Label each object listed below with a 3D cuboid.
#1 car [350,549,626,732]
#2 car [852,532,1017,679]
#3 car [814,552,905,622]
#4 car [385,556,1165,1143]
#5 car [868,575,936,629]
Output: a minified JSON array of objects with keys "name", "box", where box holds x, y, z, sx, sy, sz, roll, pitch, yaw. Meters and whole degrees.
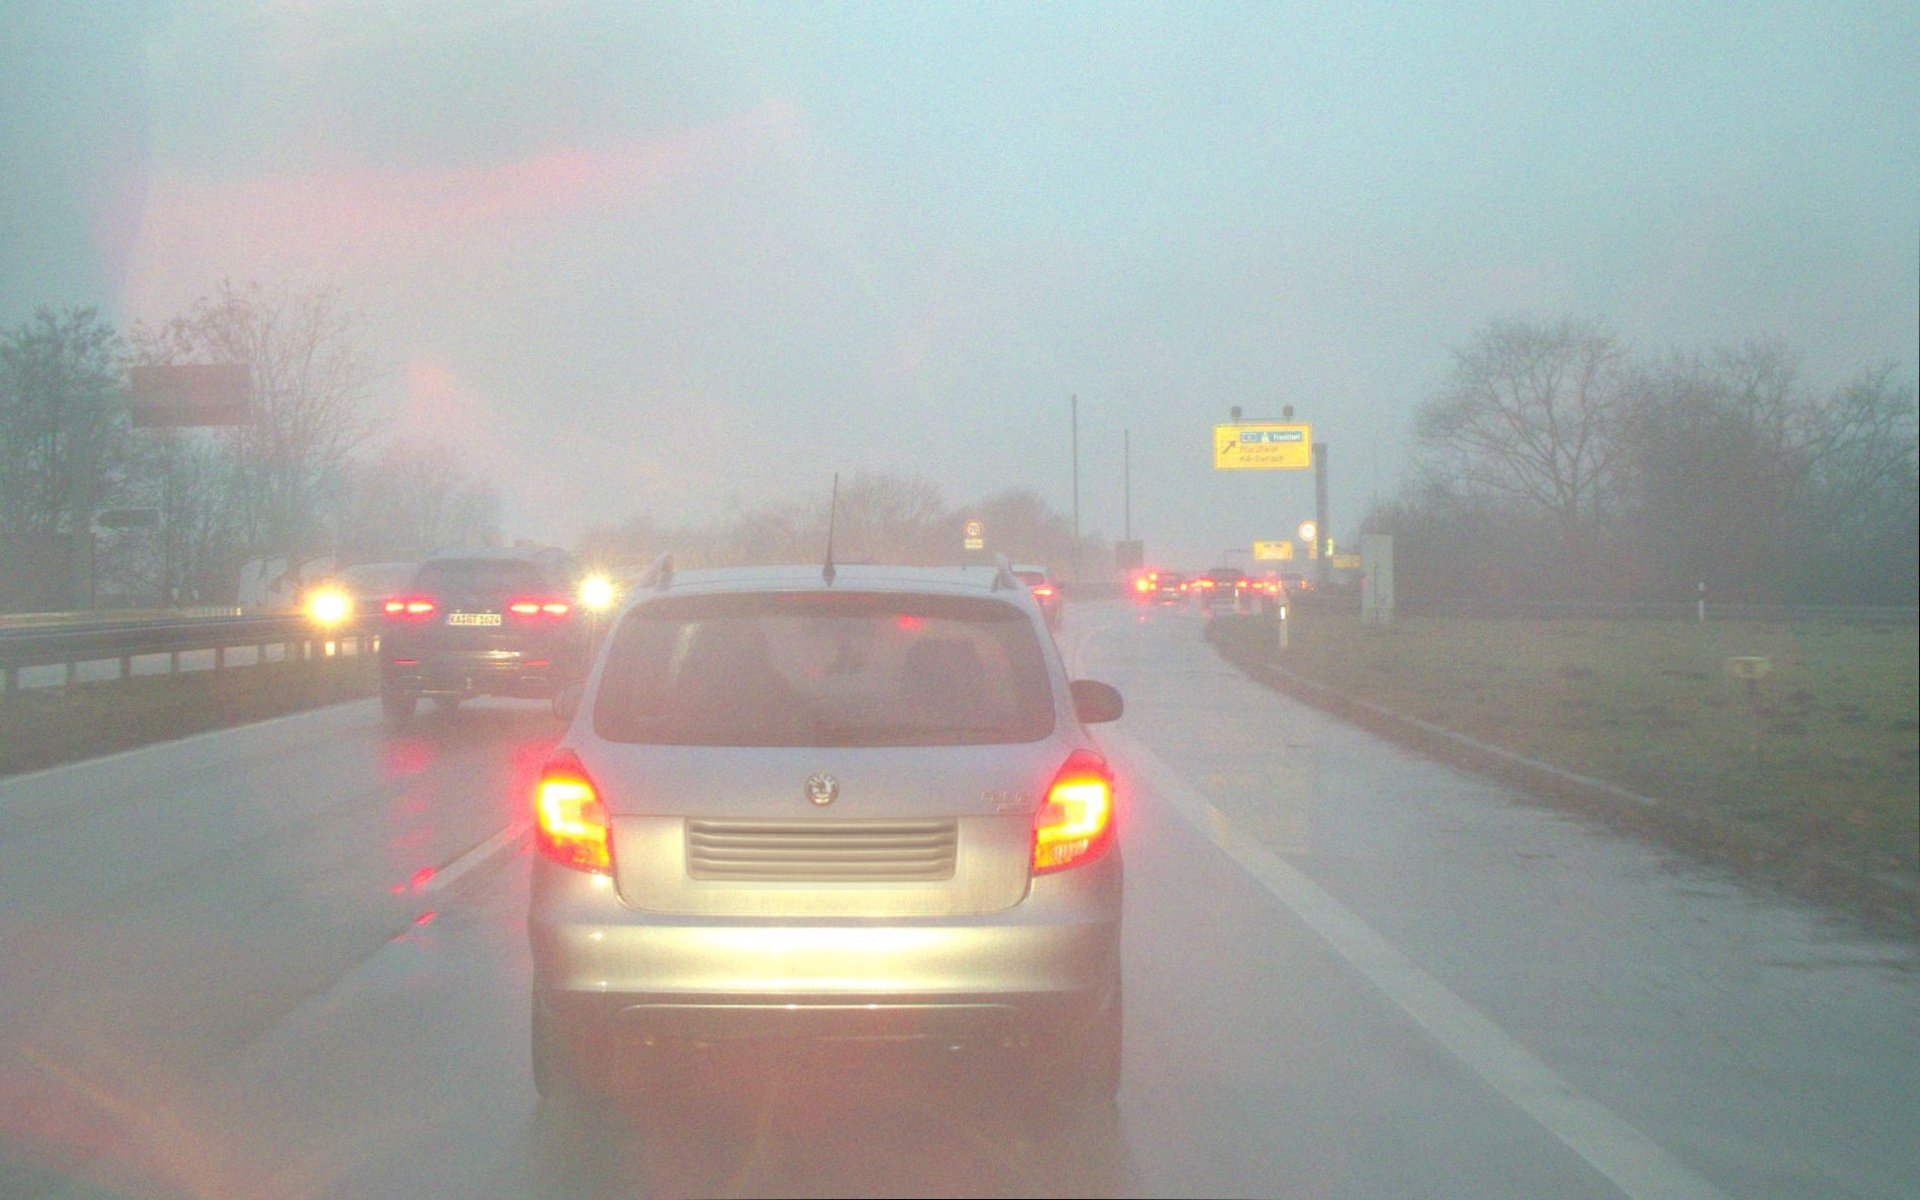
[{"name":"car","box":[-4.464,0.343,33.153,1.993,1.596,4.308,1,1,1]},{"name":"car","box":[-0.277,0.035,43.965,1.897,1.761,4.308,-1,1,2]},{"name":"car","box":[-2.264,-0.313,78.296,1.789,1.540,4.000,-1,1,2]},{"name":"car","box":[-0.433,0.637,10.891,1.993,1.495,4.137,0,0,1]},{"name":"car","box":[-1.704,0.048,102.602,1.789,1.540,4.000,-1,0,2]}]
